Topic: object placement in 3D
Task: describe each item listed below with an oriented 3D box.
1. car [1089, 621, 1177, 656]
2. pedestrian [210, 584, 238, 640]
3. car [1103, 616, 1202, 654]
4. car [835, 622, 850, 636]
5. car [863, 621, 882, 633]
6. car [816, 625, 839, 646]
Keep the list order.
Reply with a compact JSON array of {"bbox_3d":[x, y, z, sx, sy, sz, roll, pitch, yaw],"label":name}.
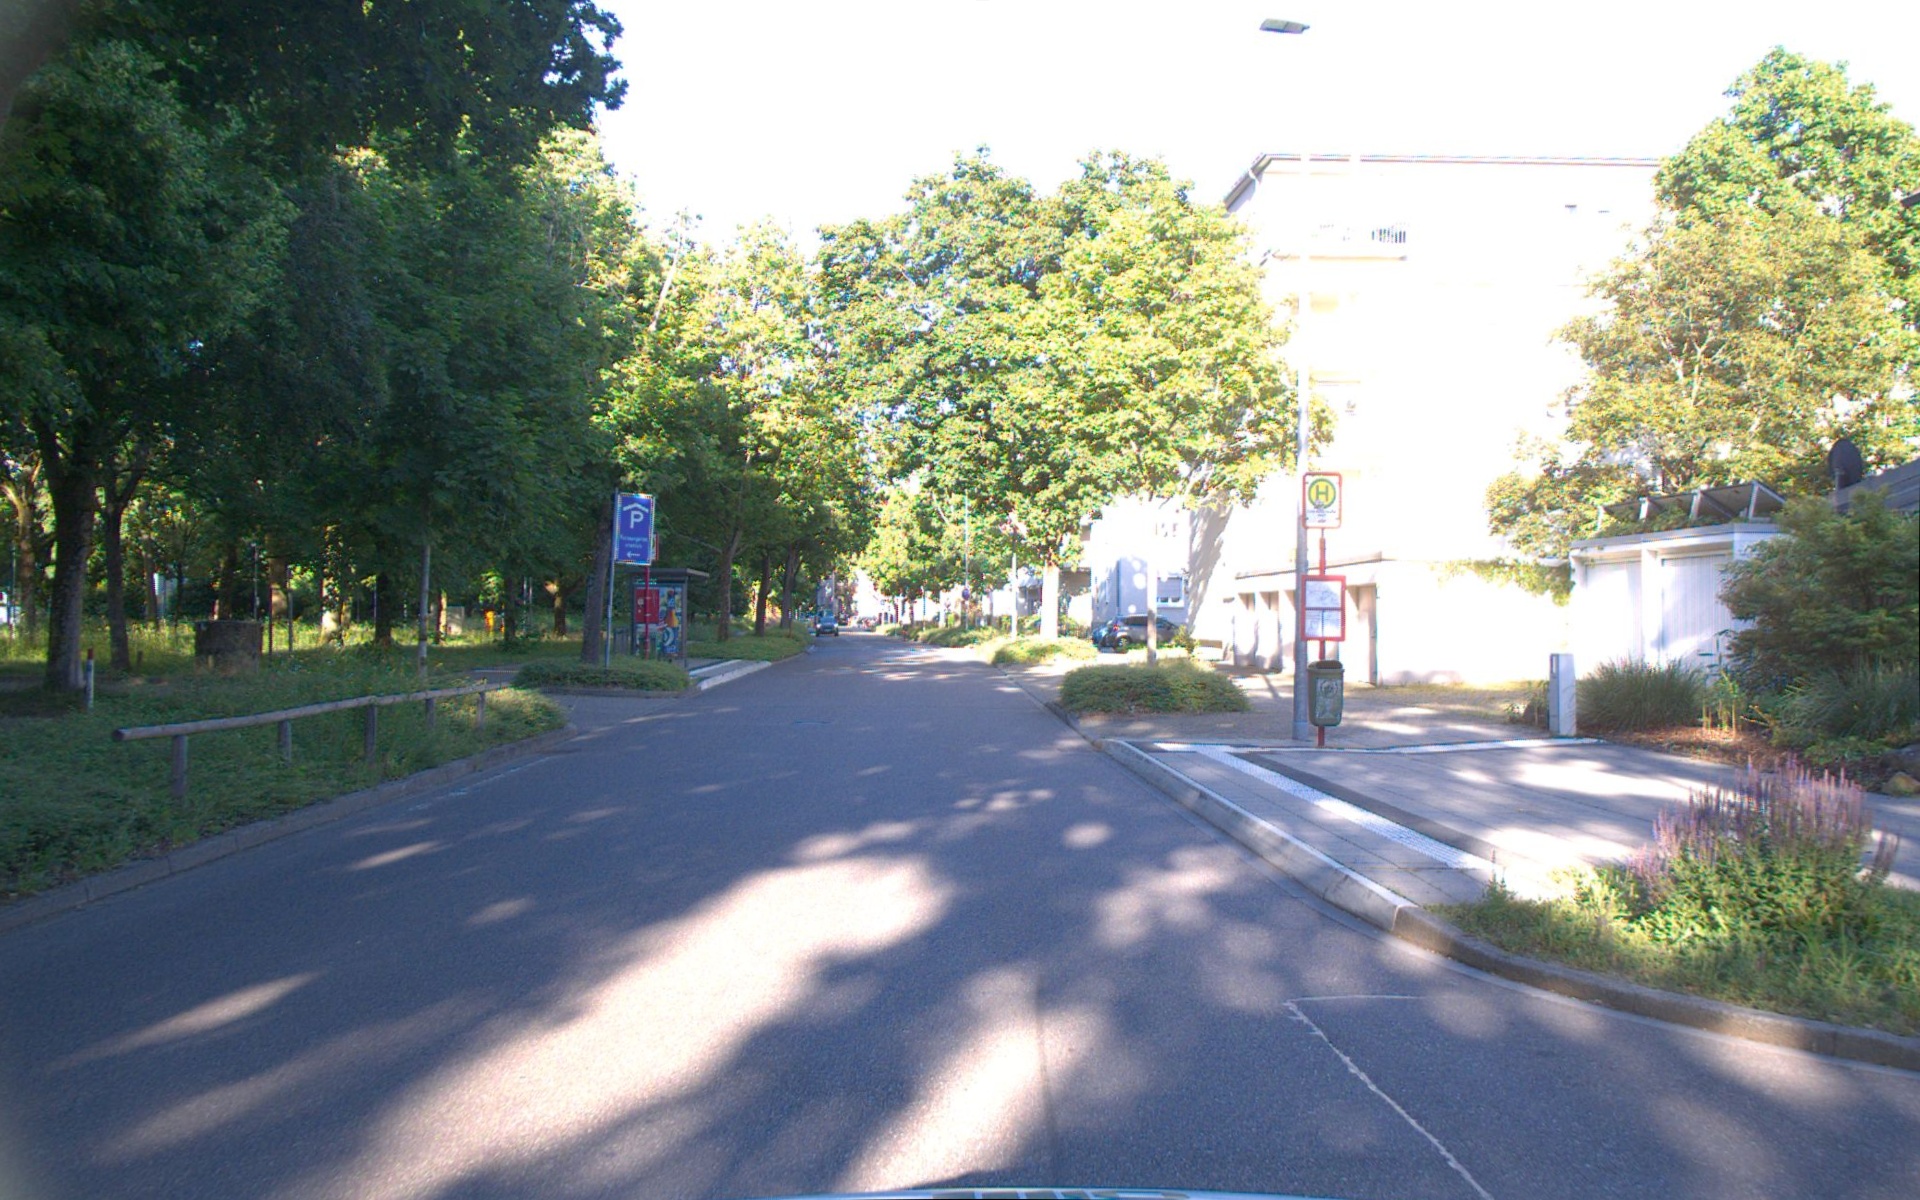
[{"bbox_3d":[8.251,1.852,79.000,3.910,1.609,1.807,0,0,-6],"label":"car"},{"bbox_3d":[-26.942,0.443,60.551,0.742,2.049,0.589,1,-2,-6],"label":"pedestrian"},{"bbox_3d":[8.281,1.514,71.225,3.962,1.541,1.725,1,-2,-5],"label":"car"},{"bbox_3d":[-16.994,4.239,239.874,1.778,1.959,3.991,2,-1,-9],"label":"car"},{"bbox_3d":[-11.178,3.493,211.713,1.780,1.527,3.987,0,-1,-13],"label":"car"},{"bbox_3d":[-10.713,2.822,133.464,1.808,1.606,4.331,-1,-1,-5],"label":"car"}]
